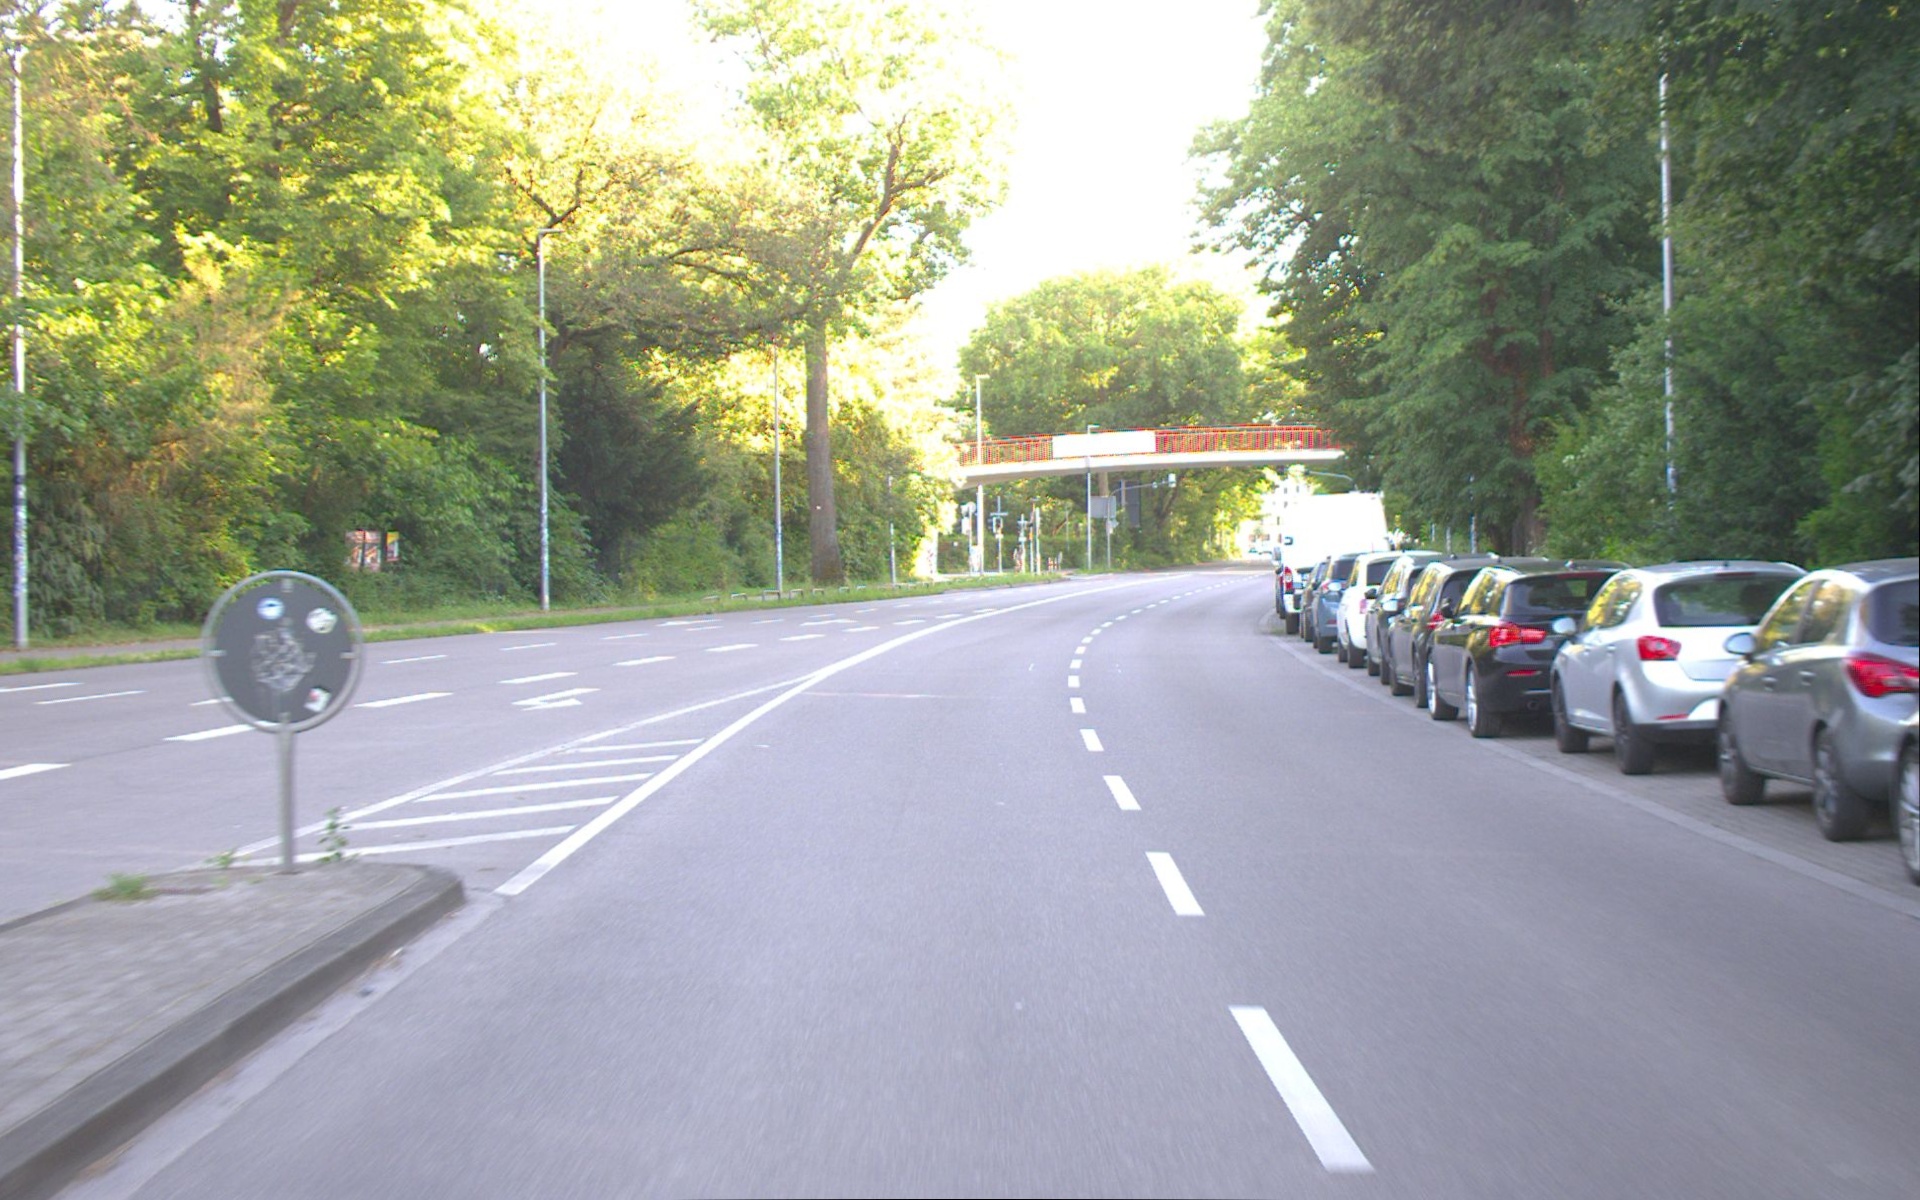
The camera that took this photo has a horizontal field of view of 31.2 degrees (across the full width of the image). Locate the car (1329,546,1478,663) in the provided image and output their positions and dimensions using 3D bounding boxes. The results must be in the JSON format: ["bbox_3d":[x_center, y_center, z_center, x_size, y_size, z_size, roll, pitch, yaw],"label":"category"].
[{"bbox_3d":[5.901,0.040,46.071,1.677,1.459,3.688,-1,1,3],"label":"car"}]

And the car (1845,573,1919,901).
[{"bbox_3d":[5.148,0.614,14.138,1.718,1.464,4.988,-1,1,0],"label":"car"}]

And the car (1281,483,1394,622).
[{"bbox_3d":[6.943,-0.873,63.652,1.904,2.415,5.575,-1,1,5],"label":"car"}]

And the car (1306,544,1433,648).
[{"bbox_3d":[6.146,-0.084,51.871,1.678,1.459,4.066,-1,1,4],"label":"car"}]

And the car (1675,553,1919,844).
[{"bbox_3d":[5.407,0.473,19.707,1.718,1.464,4.202,-1,1,0],"label":"car"}]

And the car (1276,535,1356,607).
[{"bbox_3d":[7.921,-0.659,76.592,1.678,1.530,4.352,-1,1,6],"label":"car"}]

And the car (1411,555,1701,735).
[{"bbox_3d":[5.083,0.336,29.859,1.718,1.407,4.487,-1,1,0],"label":"car"}]

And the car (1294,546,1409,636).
[{"bbox_3d":[6.524,-0.173,57.605,1.678,1.396,4.650,-1,1,4],"label":"car"}]

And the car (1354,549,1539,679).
[{"bbox_3d":[5.681,0.126,40.601,1.718,1.407,4.906,-1,1,3],"label":"car"}]

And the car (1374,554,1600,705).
[{"bbox_3d":[5.328,0.259,35.243,1.718,1.407,4.487,-1,1,2],"label":"car"}]

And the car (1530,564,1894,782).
[{"bbox_3d":[5.339,0.466,24.911,1.718,1.407,4.124,-1,1,0],"label":"car"}]
